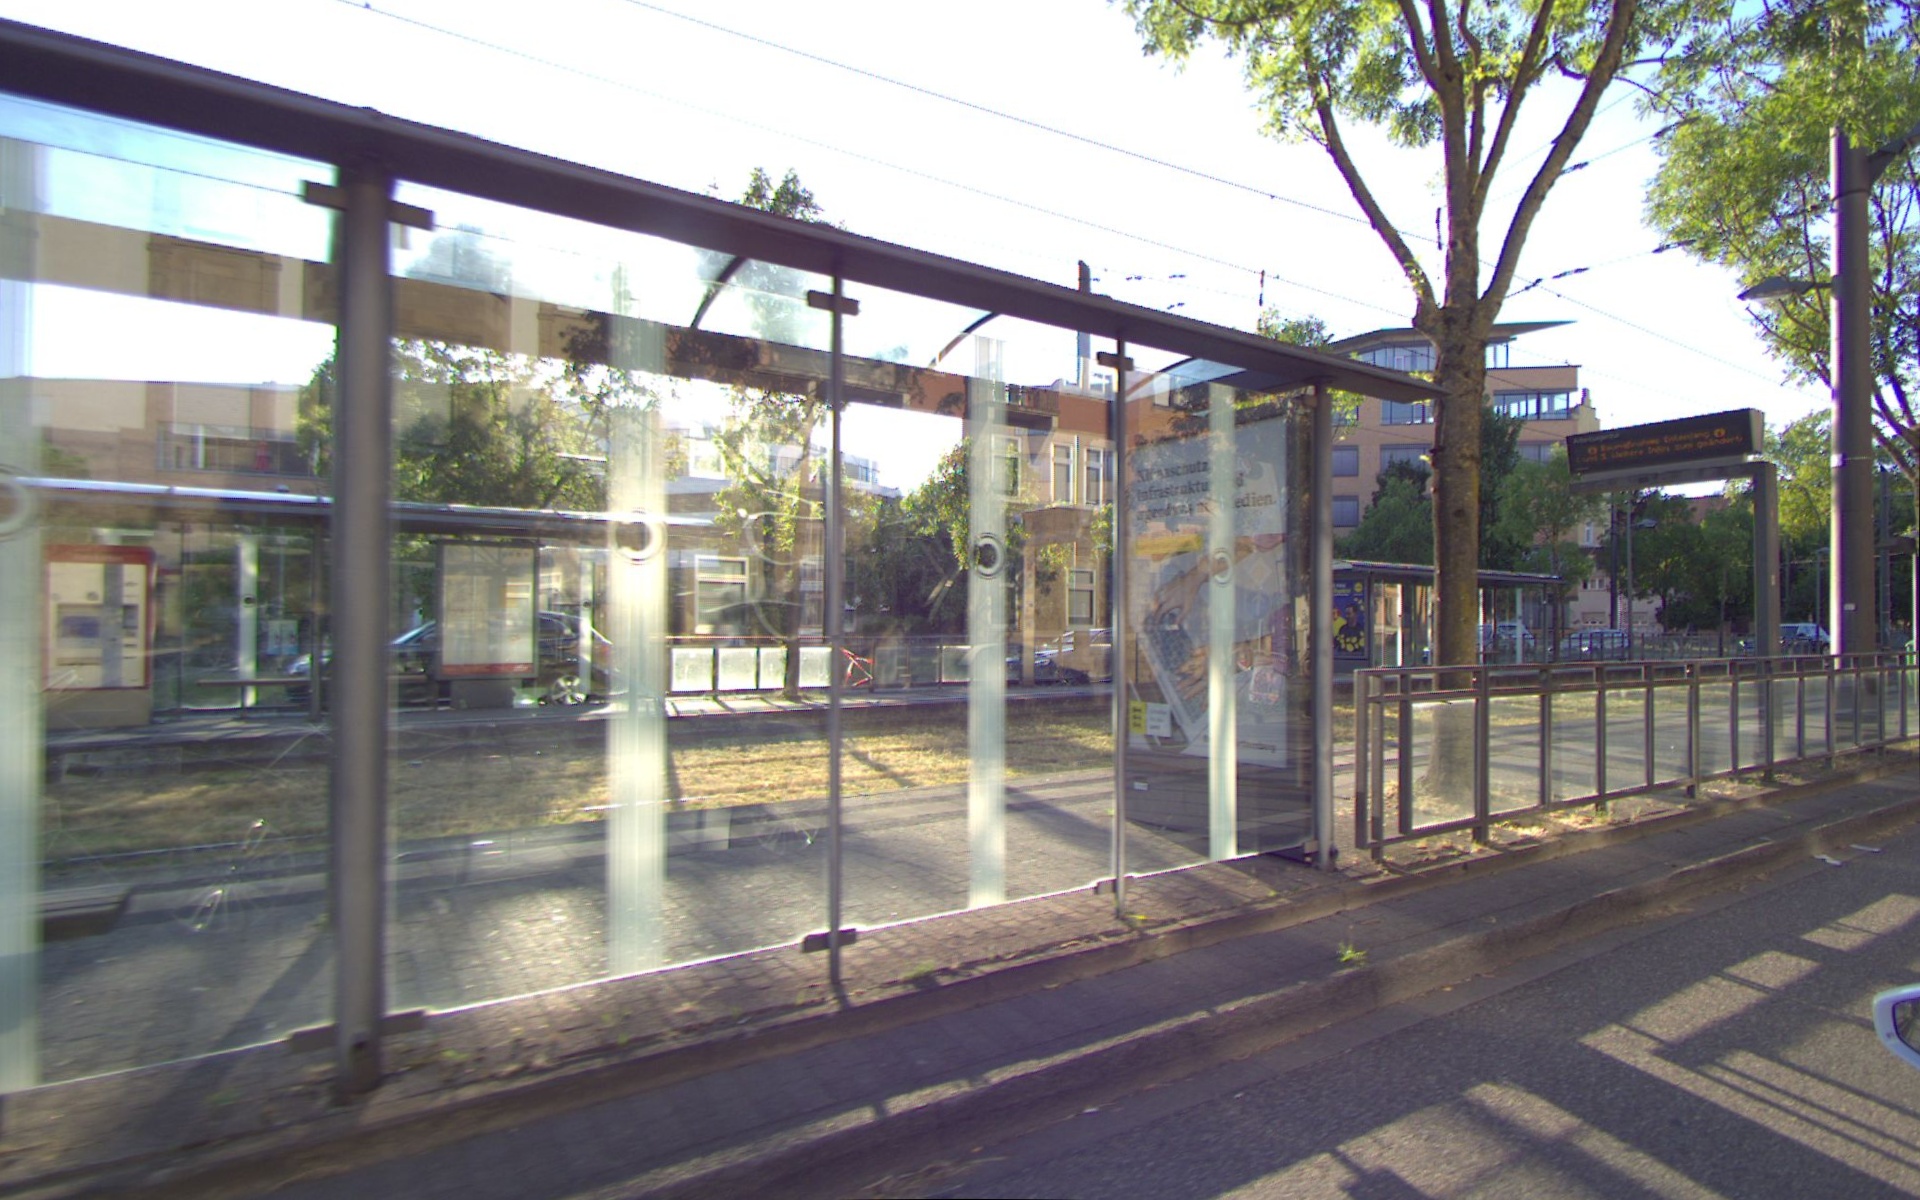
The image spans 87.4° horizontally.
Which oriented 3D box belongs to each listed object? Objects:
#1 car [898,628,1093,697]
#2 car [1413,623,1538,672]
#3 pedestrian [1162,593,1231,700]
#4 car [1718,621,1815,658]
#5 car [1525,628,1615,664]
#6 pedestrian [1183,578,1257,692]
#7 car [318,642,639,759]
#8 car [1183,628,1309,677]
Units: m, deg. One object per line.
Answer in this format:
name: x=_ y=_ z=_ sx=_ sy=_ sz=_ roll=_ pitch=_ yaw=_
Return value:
car: x=0.797 y=1.279 z=21.438 sx=3.958 sy=1.315 sz=1.683 roll=1 pitch=-1 yaw=-33
car: x=16.749 y=1.514 z=32.579 sx=4.297 sy=1.434 sz=1.783 roll=2 pitch=0 yaw=-34
pedestrian: x=4.641 y=0.901 z=19.704 sx=1.114 sy=2.040 sz=0.766 roll=1 pitch=-1 yaw=-31
car: x=36.381 y=1.764 z=45.280 sx=4.840 sy=1.572 sz=1.982 roll=1 pitch=-1 yaw=-33
car: x=25.502 y=1.895 z=41.933 sx=4.390 sy=1.432 sz=1.599 roll=2 pitch=-1 yaw=-35
pedestrian: x=4.816 y=0.646 z=18.598 sx=1.114 sy=2.040 sz=0.766 roll=1 pitch=-1 yaw=-31
car: x=-7.457 y=1.451 z=15.696 sx=4.315 sy=1.528 sz=1.851 roll=1 pitch=-1 yaw=-33
car: x=8.684 y=1.600 z=30.408 sx=3.709 sy=1.394 sz=1.603 roll=1 pitch=-5 yaw=-33
